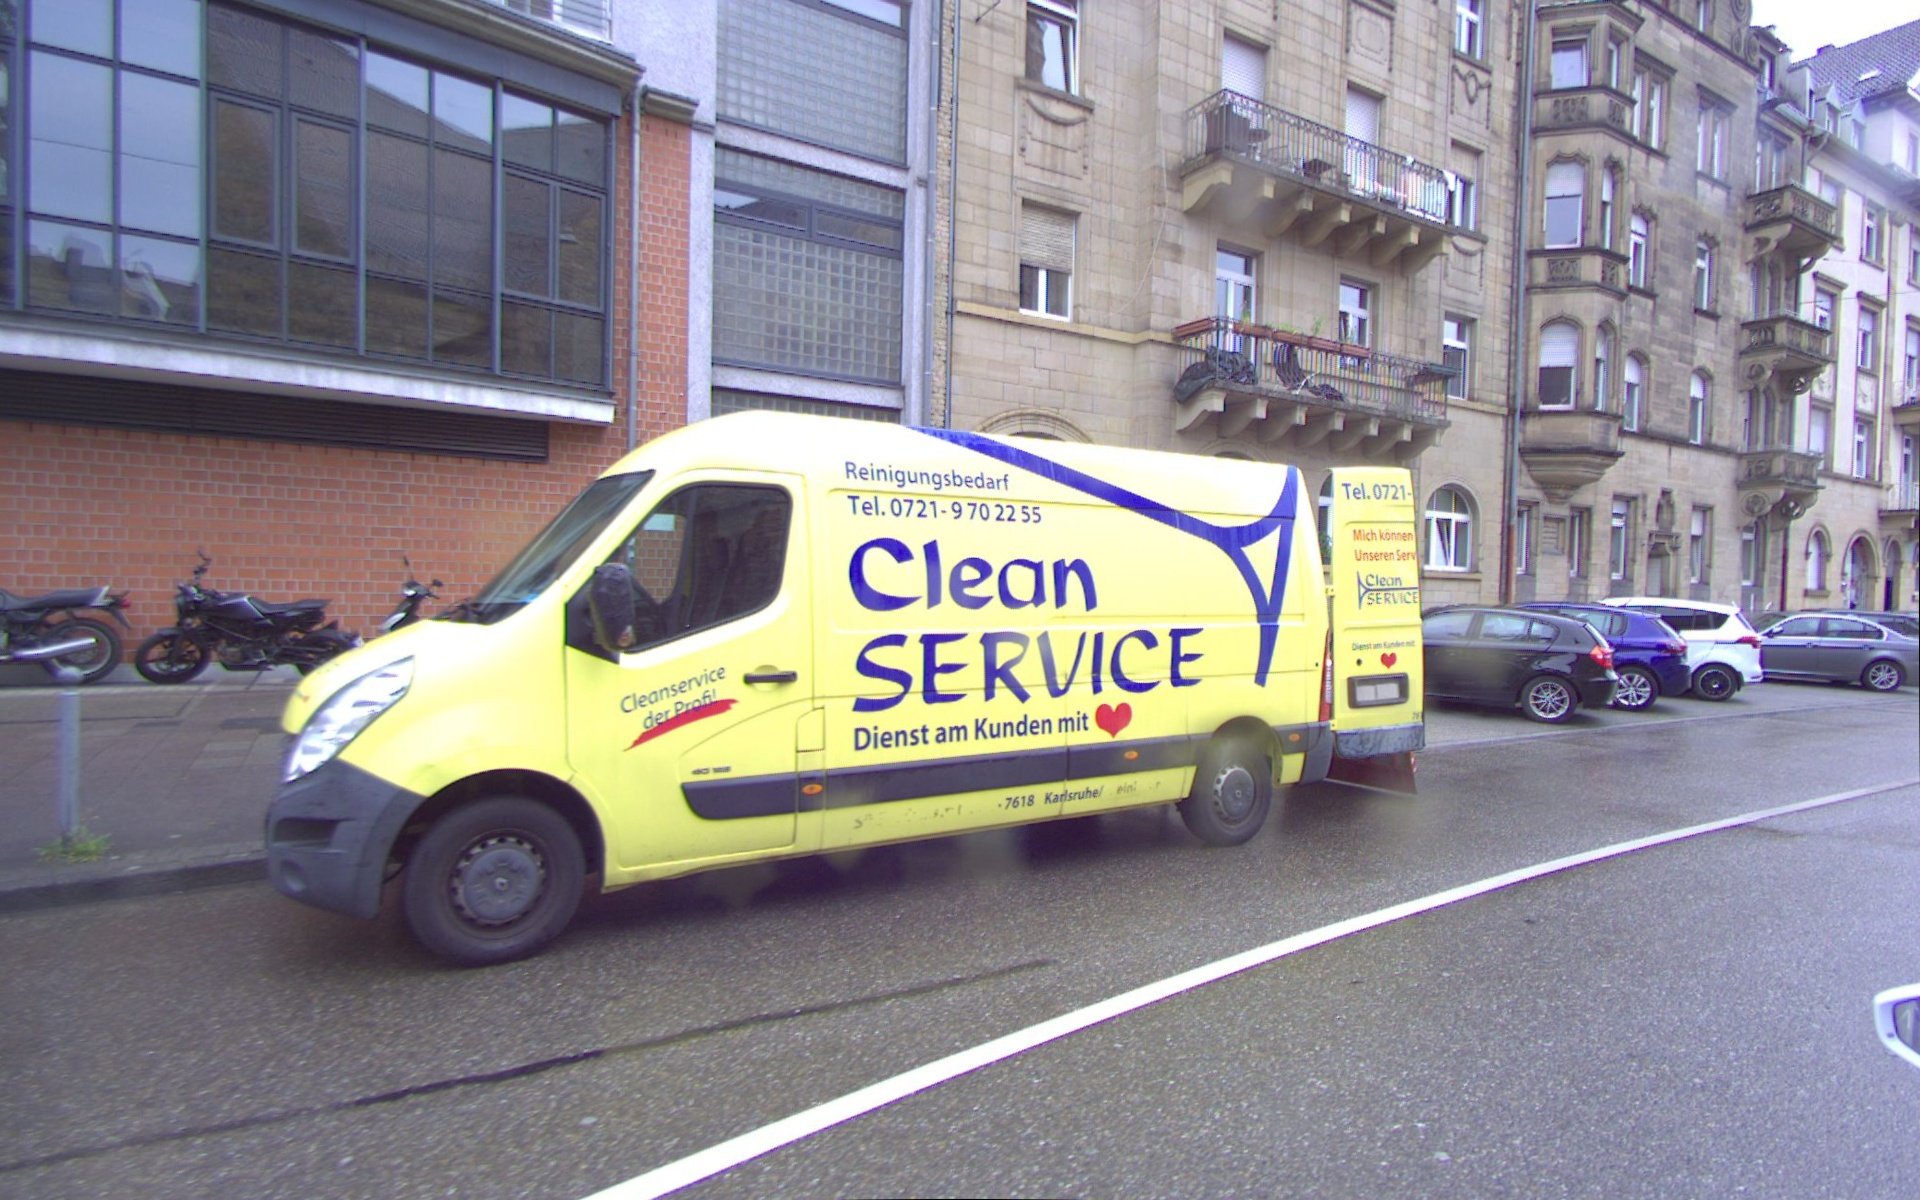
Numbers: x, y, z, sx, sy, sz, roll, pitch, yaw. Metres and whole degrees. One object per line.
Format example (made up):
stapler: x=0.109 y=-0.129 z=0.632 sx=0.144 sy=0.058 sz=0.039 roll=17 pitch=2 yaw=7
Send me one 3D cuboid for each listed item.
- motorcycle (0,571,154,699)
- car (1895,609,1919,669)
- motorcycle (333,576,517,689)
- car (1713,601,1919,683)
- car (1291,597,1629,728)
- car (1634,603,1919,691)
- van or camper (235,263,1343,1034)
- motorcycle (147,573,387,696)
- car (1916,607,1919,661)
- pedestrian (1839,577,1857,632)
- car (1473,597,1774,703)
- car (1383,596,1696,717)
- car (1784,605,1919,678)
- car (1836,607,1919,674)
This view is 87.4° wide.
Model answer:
motorcycle: x=-9.078 y=0.314 z=9.514 sx=2.180 sy=1.172 sz=0.646 roll=1 pitch=2 yaw=-32
car: x=27.104 y=1.084 z=26.349 sx=3.337 sy=1.579 sz=1.705 roll=1 pitch=1 yaw=22
motorcycle: x=-5.934 y=0.357 z=11.208 sx=1.726 sy=1.197 sz=0.524 roll=1 pitch=2 yaw=-11
car: x=18.886 y=0.869 z=22.002 sx=3.485 sy=1.619 sz=1.605 roll=1 pitch=1 yaw=22
car: x=6.863 y=0.754 z=13.975 sx=3.973 sy=1.532 sz=1.794 roll=1 pitch=0 yaw=32
car: x=16.531 y=0.885 z=20.321 sx=4.458 sy=1.566 sz=1.689 roll=1 pitch=1 yaw=18
van or camper: x=-0.554 y=0.197 z=5.947 sx=5.876 sy=2.646 sz=2.184 roll=1 pitch=0 yaw=-32
motorcycle: x=-7.047 y=0.353 z=10.283 sx=1.968 sy=1.197 sz=0.524 roll=1 pitch=2 yaw=-11
car: x=29.319 y=1.040 z=28.068 sx=3.337 sy=1.579 sz=1.705 roll=1 pitch=1 yaw=22
pedestrian: x=30.443 y=0.152 z=34.433 sx=0.343 sy=1.847 sz=0.364 roll=1 pitch=0 yaw=-31
car: x=11.129 y=0.781 z=17.202 sx=3.964 sy=1.576 sz=1.798 roll=1 pitch=0 yaw=21
car: x=8.857 y=0.777 z=15.599 sx=3.973 sy=1.595 sz=1.794 roll=1 pitch=0 yaw=32
car: x=21.612 y=0.961 z=23.418 sx=3.337 sy=1.579 sz=1.652 roll=1 pitch=1 yaw=22
car: x=24.192 y=1.015 z=24.870 sx=3.337 sy=1.579 sz=1.705 roll=1 pitch=1 yaw=22
